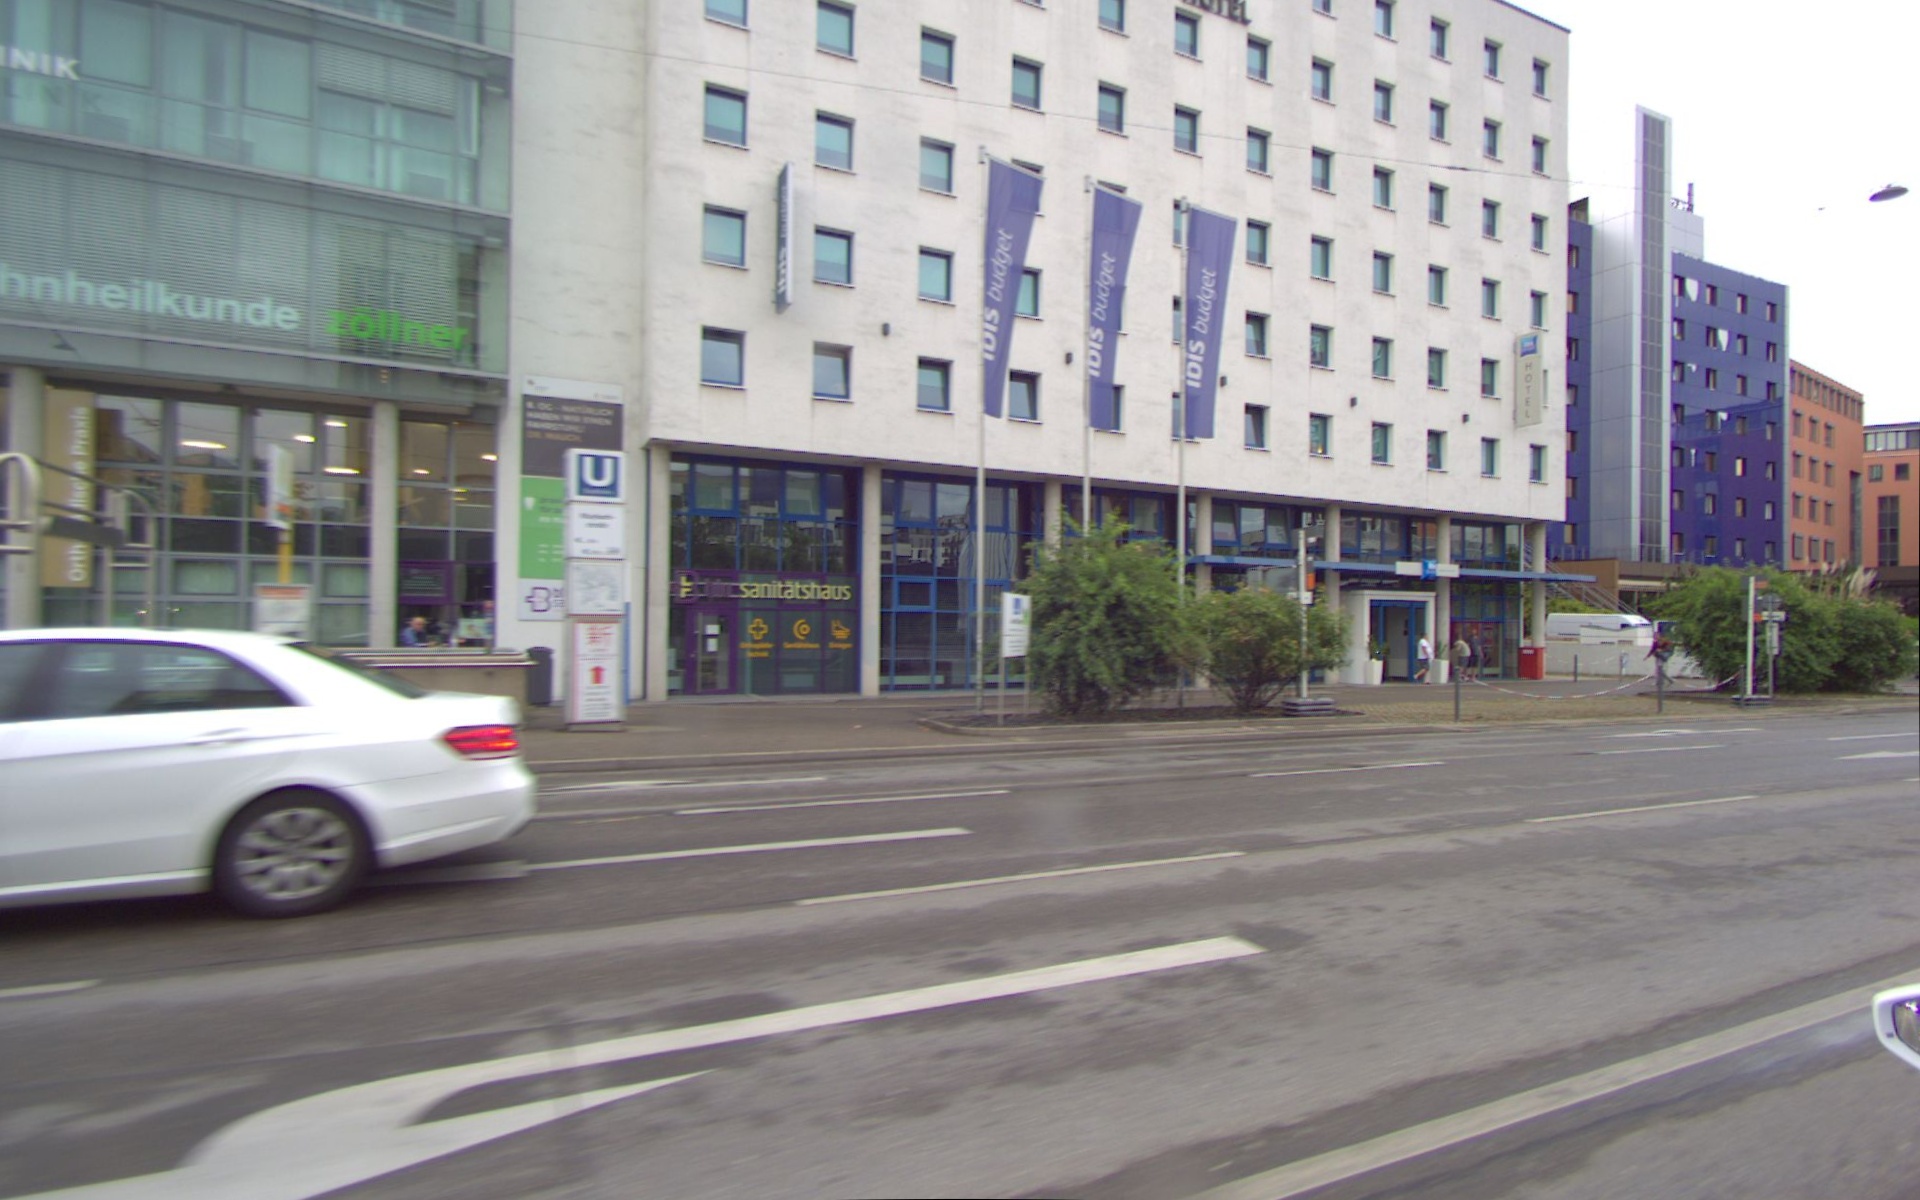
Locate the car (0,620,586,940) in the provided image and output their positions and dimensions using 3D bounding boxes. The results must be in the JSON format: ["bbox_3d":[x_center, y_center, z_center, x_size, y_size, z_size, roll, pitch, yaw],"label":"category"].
[{"bbox_3d":[-4.653,0.815,5.221,4.900,1.405,1.811,1,-2,-28],"label":"car"}]

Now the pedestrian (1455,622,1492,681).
[{"bbox_3d":[18.116,1.844,35.457,0.883,2.039,0.816,1,-4,3],"label":"pedestrian"}]

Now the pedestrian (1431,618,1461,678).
[{"bbox_3d":[16.878,1.685,34.873,0.802,2.039,0.802,-2,-5,36],"label":"pedestrian"}]

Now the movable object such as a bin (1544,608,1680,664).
[{"bbox_3d":[33.823,1.959,52.335,2.134,2.661,5.609,3,-5,-26],"label":"movable object such as a bin"}]

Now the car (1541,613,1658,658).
[{"bbox_3d":[32.140,1.830,50.638,1.868,2.039,4.699,3,-5,-26],"label":"car"}]

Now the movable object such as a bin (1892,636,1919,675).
[{"bbox_3d":[37.630,2.174,39.280,0.936,1.510,1.391,2,-4,-15],"label":"movable object such as a bin"}]

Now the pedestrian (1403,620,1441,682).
[{"bbox_3d":[15.391,1.708,33.490,0.804,2.039,0.800,3,-4,-25],"label":"pedestrian"}]
